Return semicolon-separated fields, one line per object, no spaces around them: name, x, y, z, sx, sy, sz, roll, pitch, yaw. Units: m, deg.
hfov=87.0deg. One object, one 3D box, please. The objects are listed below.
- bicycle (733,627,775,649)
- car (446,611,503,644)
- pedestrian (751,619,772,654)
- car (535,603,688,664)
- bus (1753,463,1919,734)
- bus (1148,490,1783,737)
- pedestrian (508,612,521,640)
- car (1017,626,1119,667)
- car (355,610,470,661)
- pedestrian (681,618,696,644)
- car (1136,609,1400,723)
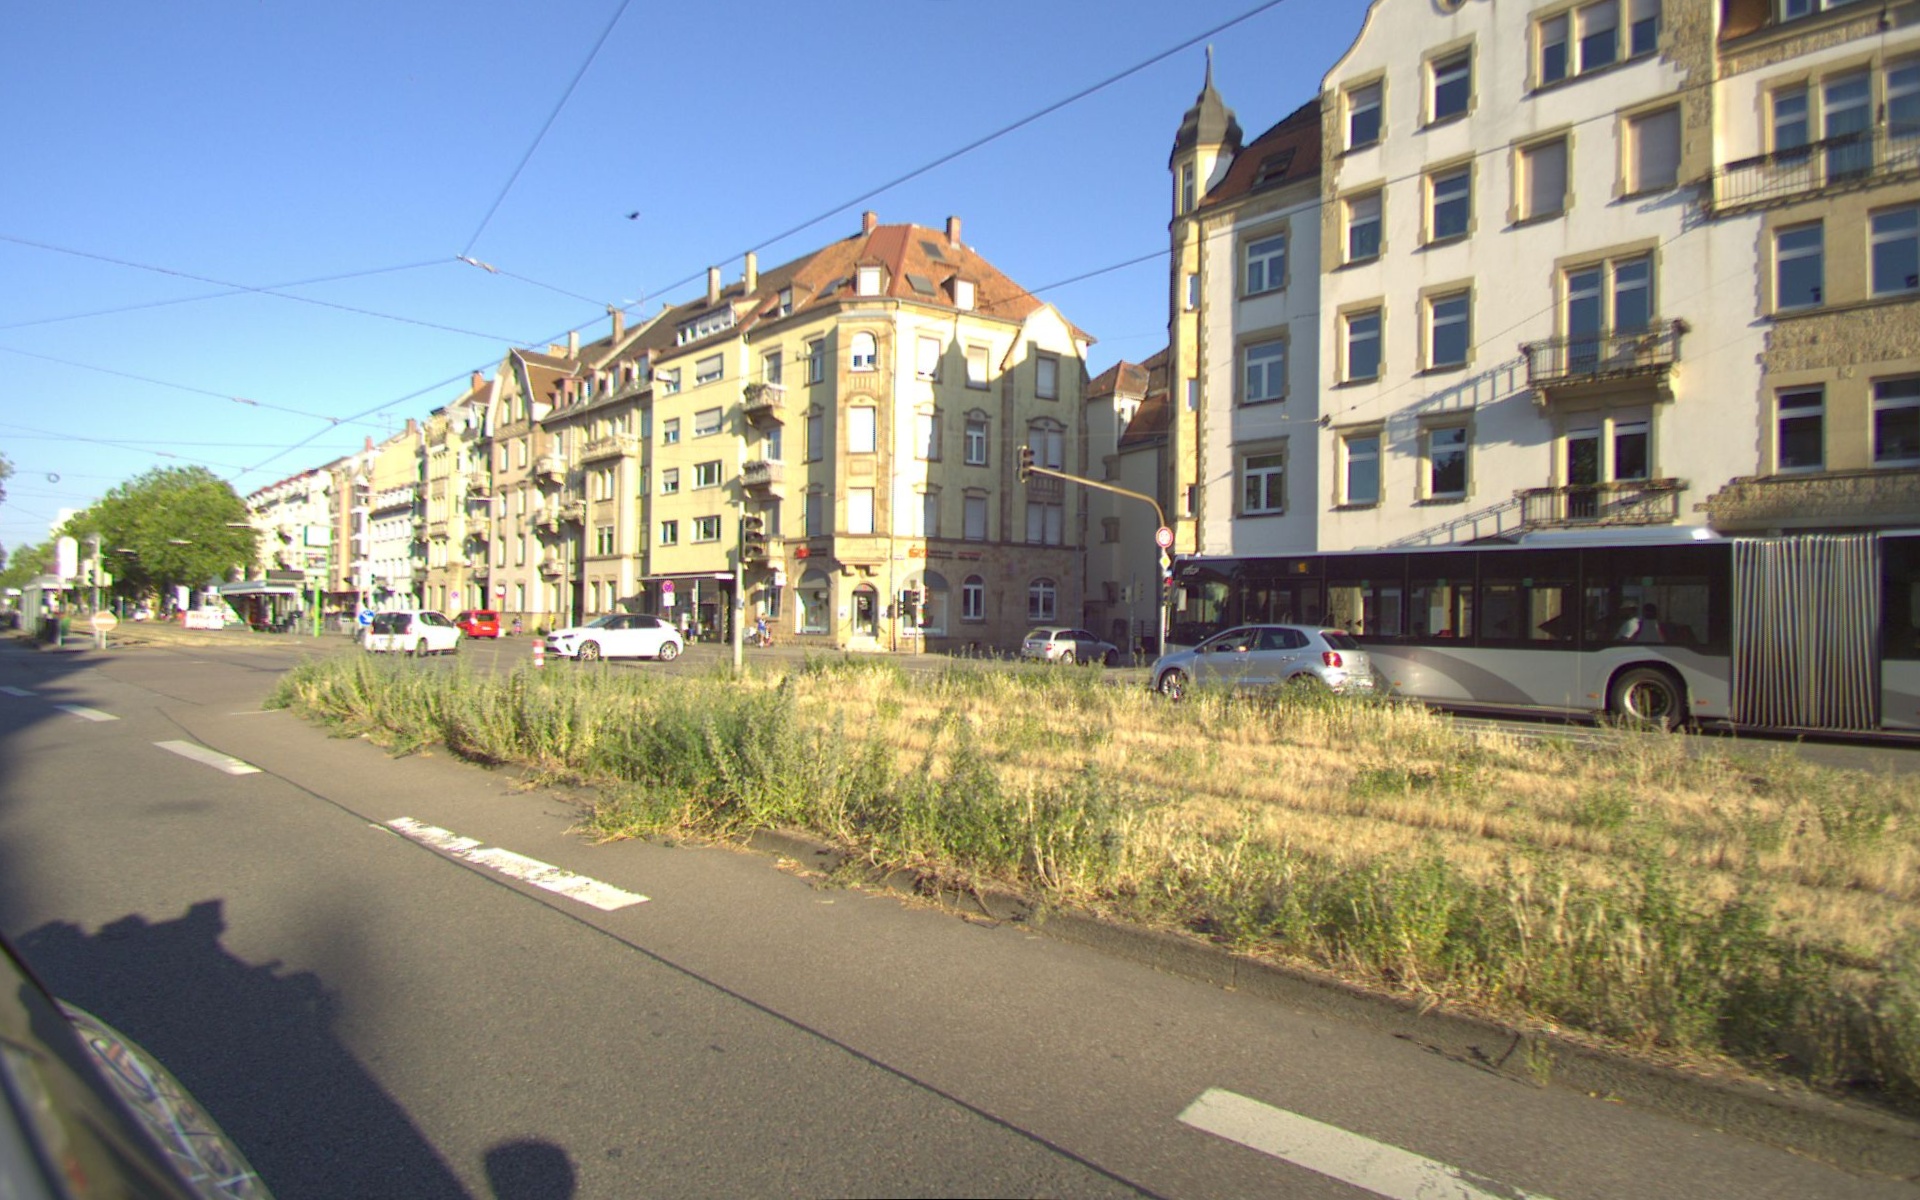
bicycle;-10.155;1.860;49.756;2.502;1.064;0.658;-1;-2;42
car;-30.239;1.682;62.992;1.892;1.914;4.313;2;-1;-44
pedestrian;-9.465;1.746;48.297;0.770;1.653;0.621;-1;-2;43
car;-10.422;0.998;30.427;3.939;1.719;1.838;2;-1;-43
bus;16.214;0.046;10.734;3.217;3.399;11.985;2;-1;-45
bus;8.527;0.195;18.549;3.228;3.399;9.905;2;-1;-45
pedestrian;-30.382;1.777;69.016;0.631;1.851;0.477;2;-1;-43
car;4.245;1.834;39.499;4.110;1.488;1.739;3;-2;-45
car;-17.116;1.109;31.863;1.712;1.491;3.817;1;-2;-3
pedestrian;-14.290;1.623;53.353;0.555;1.373;0.546;-1;-2;44
car;5.268;1.053;17.659;1.907;1.696;4.005;2;-1;-42
